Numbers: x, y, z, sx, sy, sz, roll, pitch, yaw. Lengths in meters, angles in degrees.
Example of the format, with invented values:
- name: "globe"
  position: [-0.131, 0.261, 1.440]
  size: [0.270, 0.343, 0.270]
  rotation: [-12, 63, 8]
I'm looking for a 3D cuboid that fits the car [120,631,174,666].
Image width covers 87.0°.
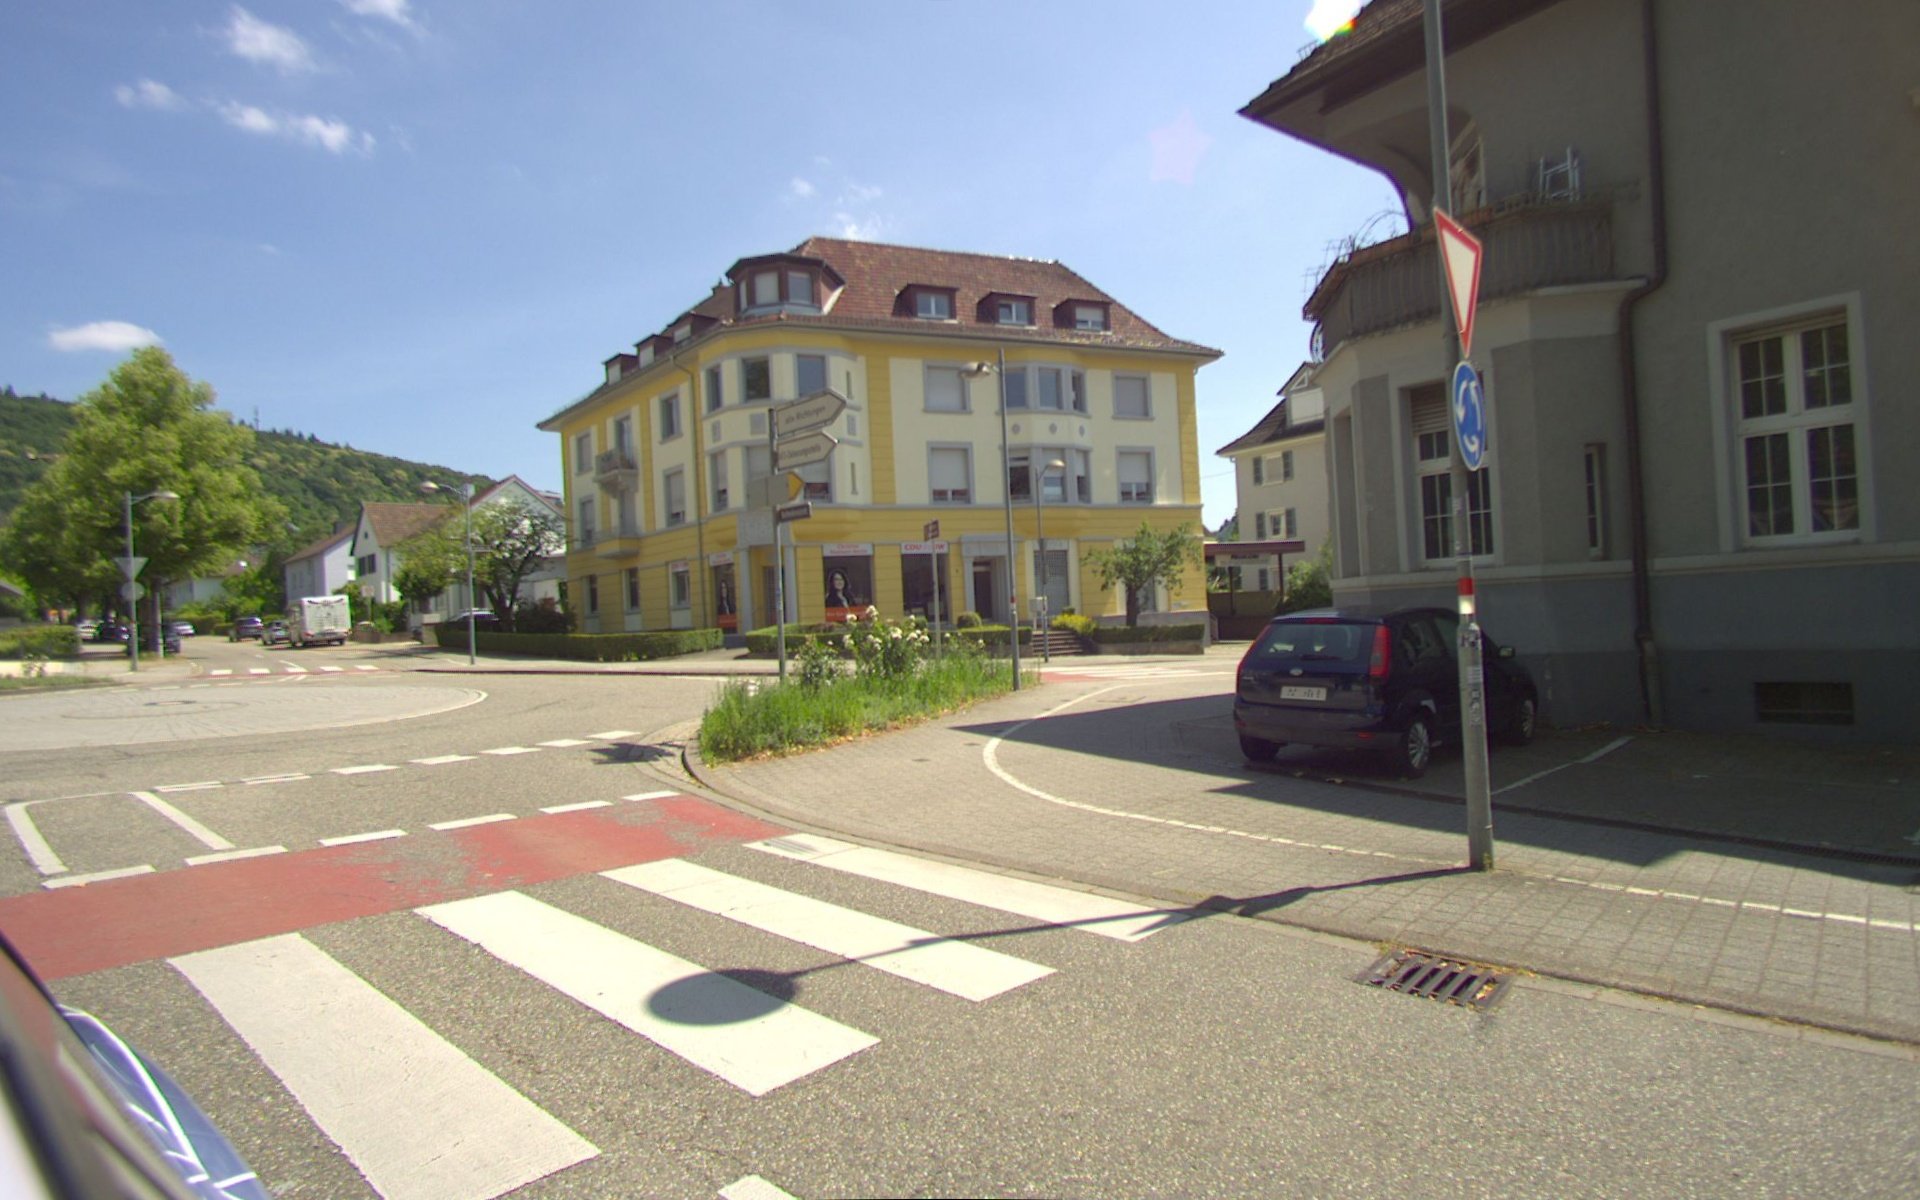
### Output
- name: "car"
  position: [-37.979, 2.238, 47.255]
  size: [1.729, 1.516, 3.997]
  rotation: [0, -2, -42]

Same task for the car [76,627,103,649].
- name: "car"
  position: [-75.632, 3.298, 87.940]
  size: [1.740, 1.763, 4.006]
  rotation: [0, -2, -41]

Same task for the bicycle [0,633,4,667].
- name: "bicycle"
  position: [-39.345, 2.034, 41.025]
  size: [0.561, 1.388, 1.752]
  rotation: [0, -2, -33]

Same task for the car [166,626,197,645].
- name: "car"
  position: [-73.099, 3.293, 94.987]
  size: [1.970, 1.679, 4.004]
  rotation: [0, -1, -43]

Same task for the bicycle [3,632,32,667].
- name: "bicycle"
  position: [-38.639, 2.031, 41.493]
  size: [0.561, 1.388, 1.752]
  rotation: [0, -2, -33]

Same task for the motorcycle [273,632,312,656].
- name: "motorcycle"
  position: [-39.056, 2.572, 59.245]
  size: [0.730, 1.330, 2.230]
  rotation: [-1, -2, 5]

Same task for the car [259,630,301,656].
- name: "car"
  position: [-41.979, 2.632, 62.442]
  size: [1.729, 1.516, 3.998]
  rotation: [0, -2, -40]

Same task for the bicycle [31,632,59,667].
- name: "bicycle"
  position: [-37.914, 2.037, 41.956]
  size: [0.561, 1.388, 1.752]
  rotation: [0, -2, -33]

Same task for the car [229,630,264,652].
- name: "car"
  position: [-51.932, 2.984, 73.619]
  size: [1.729, 1.516, 3.998]
  rotation: [0, -2, -40]

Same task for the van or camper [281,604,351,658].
- name: "van or camper"
  position: [-35.229, 1.684, 55.274]
  size: [2.240, 2.658, 5.893]
  rotation: [-4, 1, -41]

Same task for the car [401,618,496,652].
- name: "car"
  position: [-25.900, 1.769, 51.352]
  size: [1.752, 1.598, 3.945]
  rotation: [-2, -2, 35]

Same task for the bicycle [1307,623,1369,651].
- name: "bicycle"
  position: [16.032, 1.577, 42.987]
  size: [0.658, 1.147, 2.392]
  rotation: [1, -3, -41]

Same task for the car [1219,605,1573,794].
- name: "car"
  position: [4.326, 0.814, 9.801]
  size: [3.734, 1.471, 1.726]
  rotation: [0, -2, -42]

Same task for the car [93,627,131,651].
- name: "car"
  position: [-62.801, 2.826, 74.921]
  size: [1.970, 1.679, 4.004]
  rotation: [0, -1, -43]

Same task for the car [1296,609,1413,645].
- name: "car"
  position: [17.527, 1.217, 45.098]
  size: [1.970, 1.520, 4.422]
  rotation: [1, -3, -44]
